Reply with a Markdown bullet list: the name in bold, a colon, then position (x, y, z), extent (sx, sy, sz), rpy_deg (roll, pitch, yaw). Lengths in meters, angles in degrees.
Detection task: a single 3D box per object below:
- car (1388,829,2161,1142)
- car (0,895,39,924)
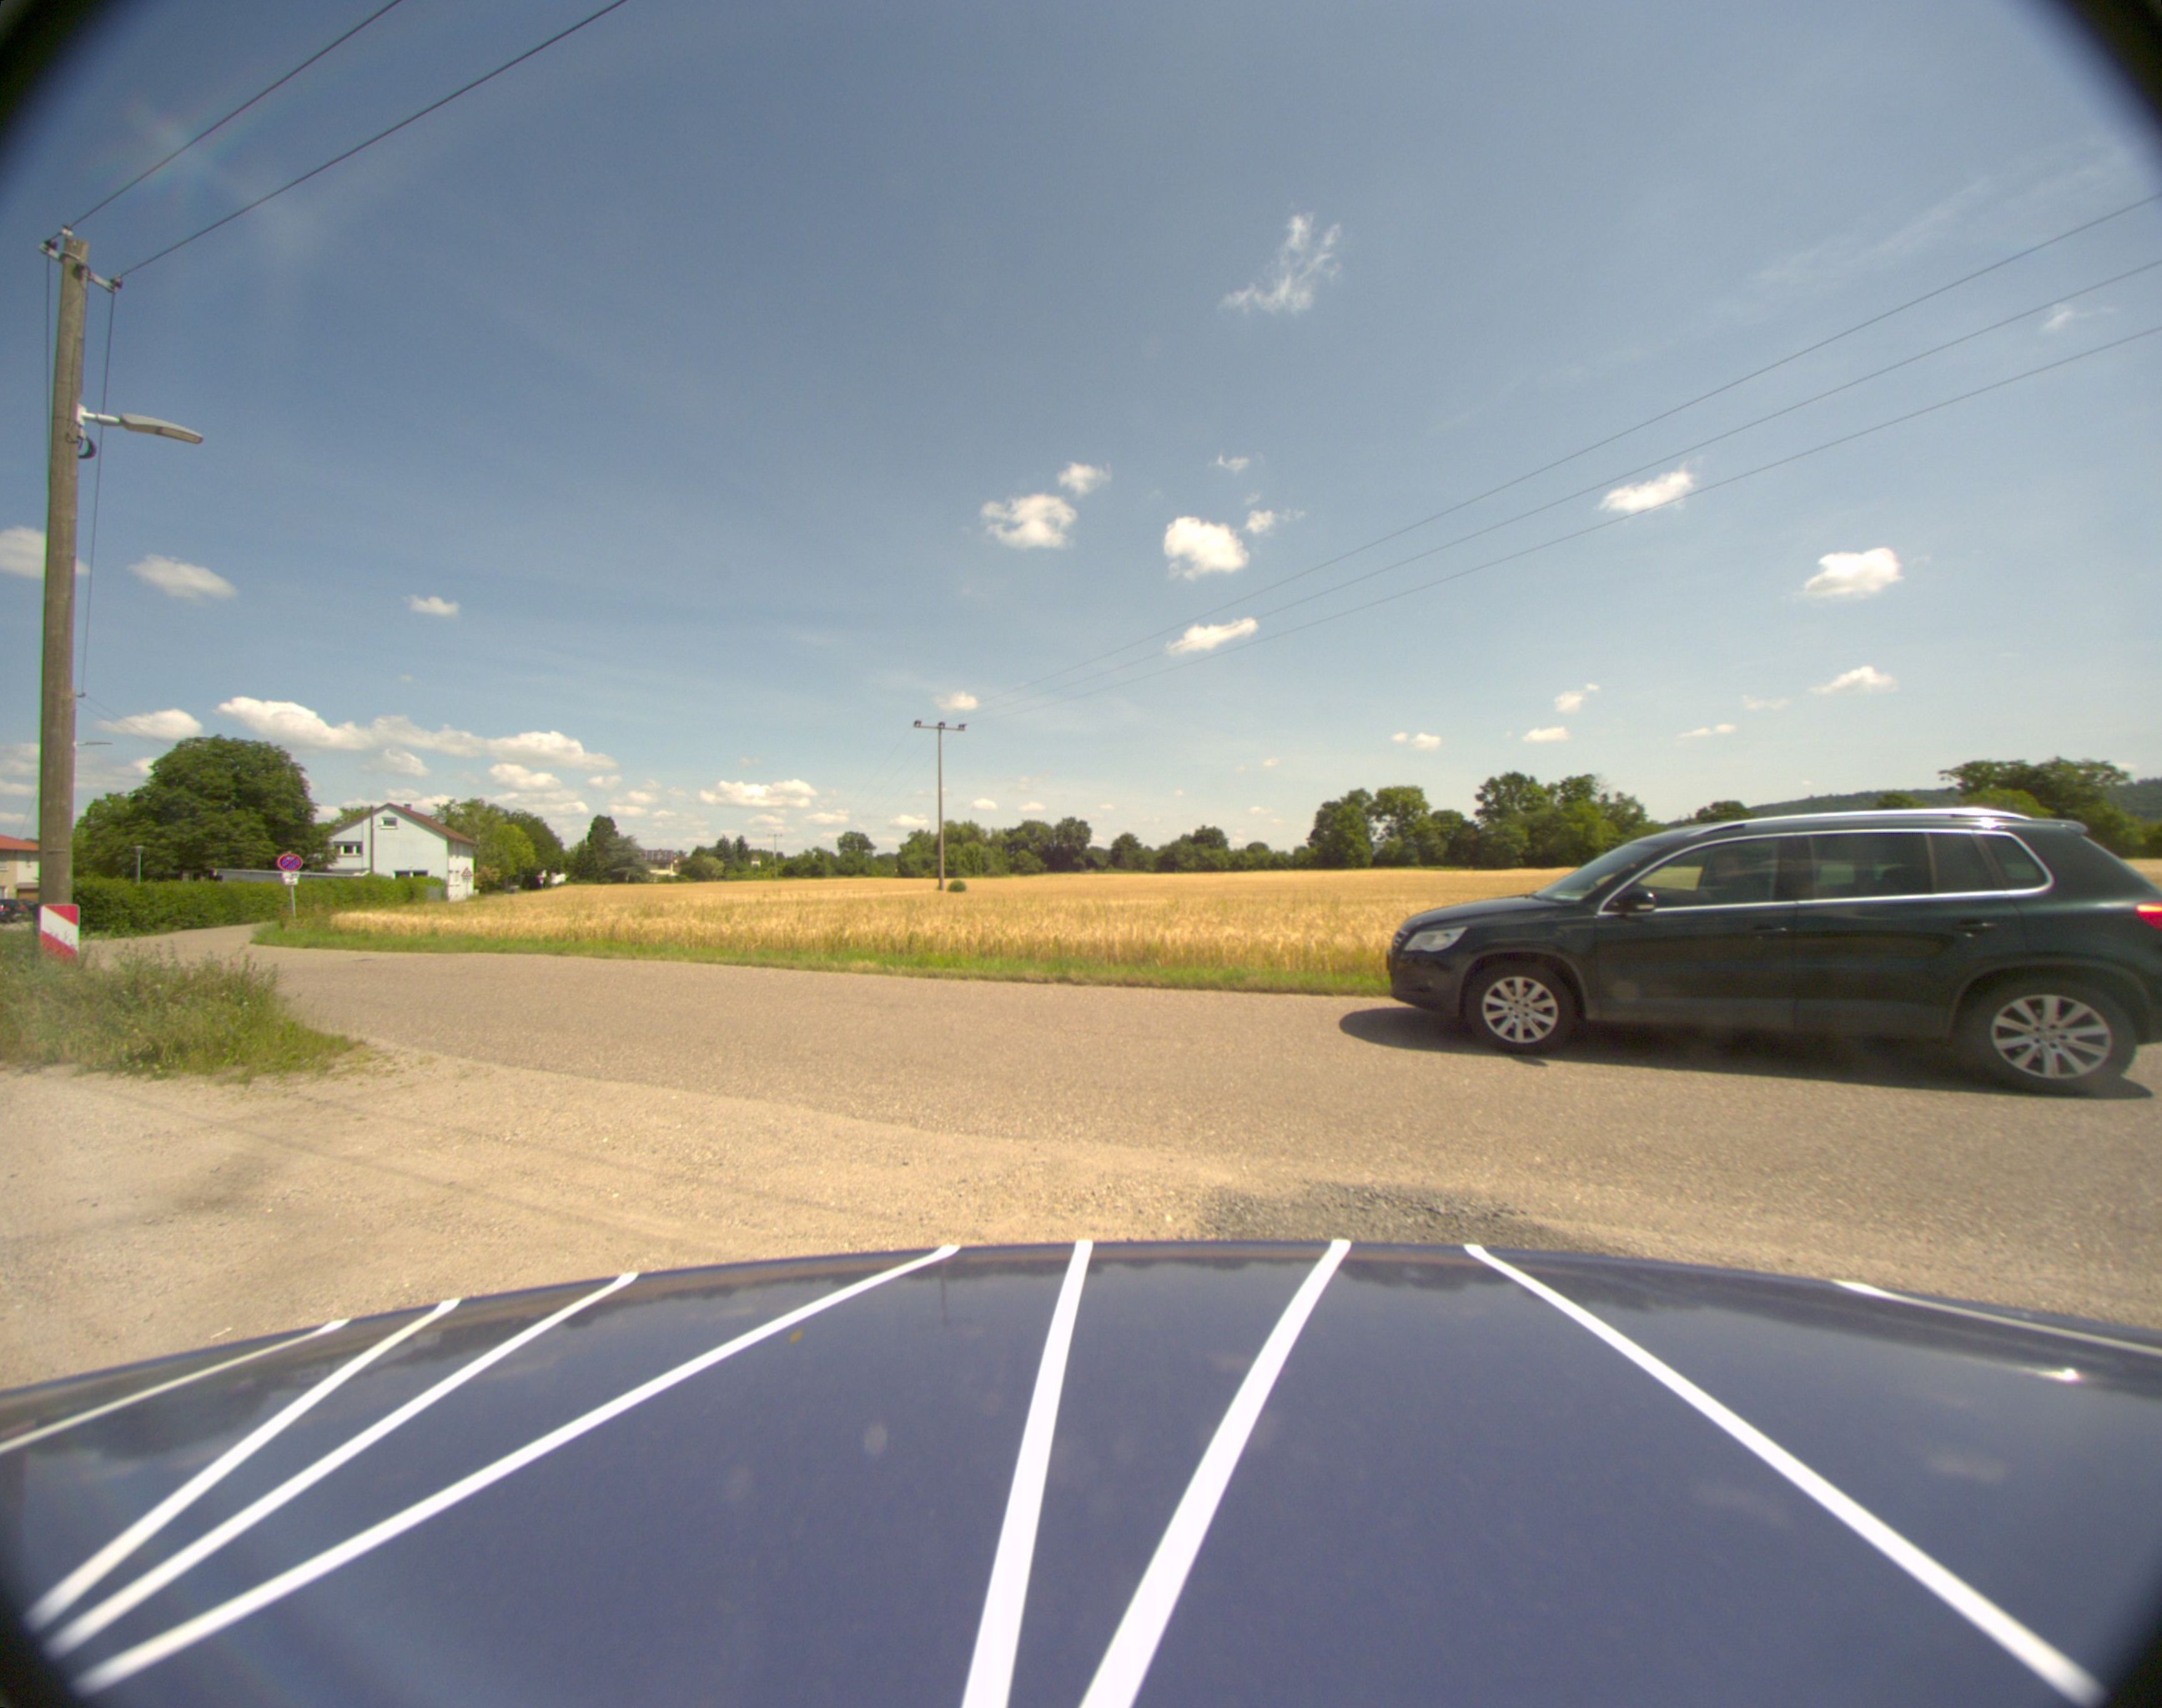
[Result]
- **car**: position (4.575, 0.727, 5.524), extent (4.244, 1.669, 1.752), rpy_deg (-1, 0, 24)
- **car**: position (-62.236, 3.149, 42.543), extent (4.156, 1.605, 1.995), rpy_deg (0, -2, -33)
